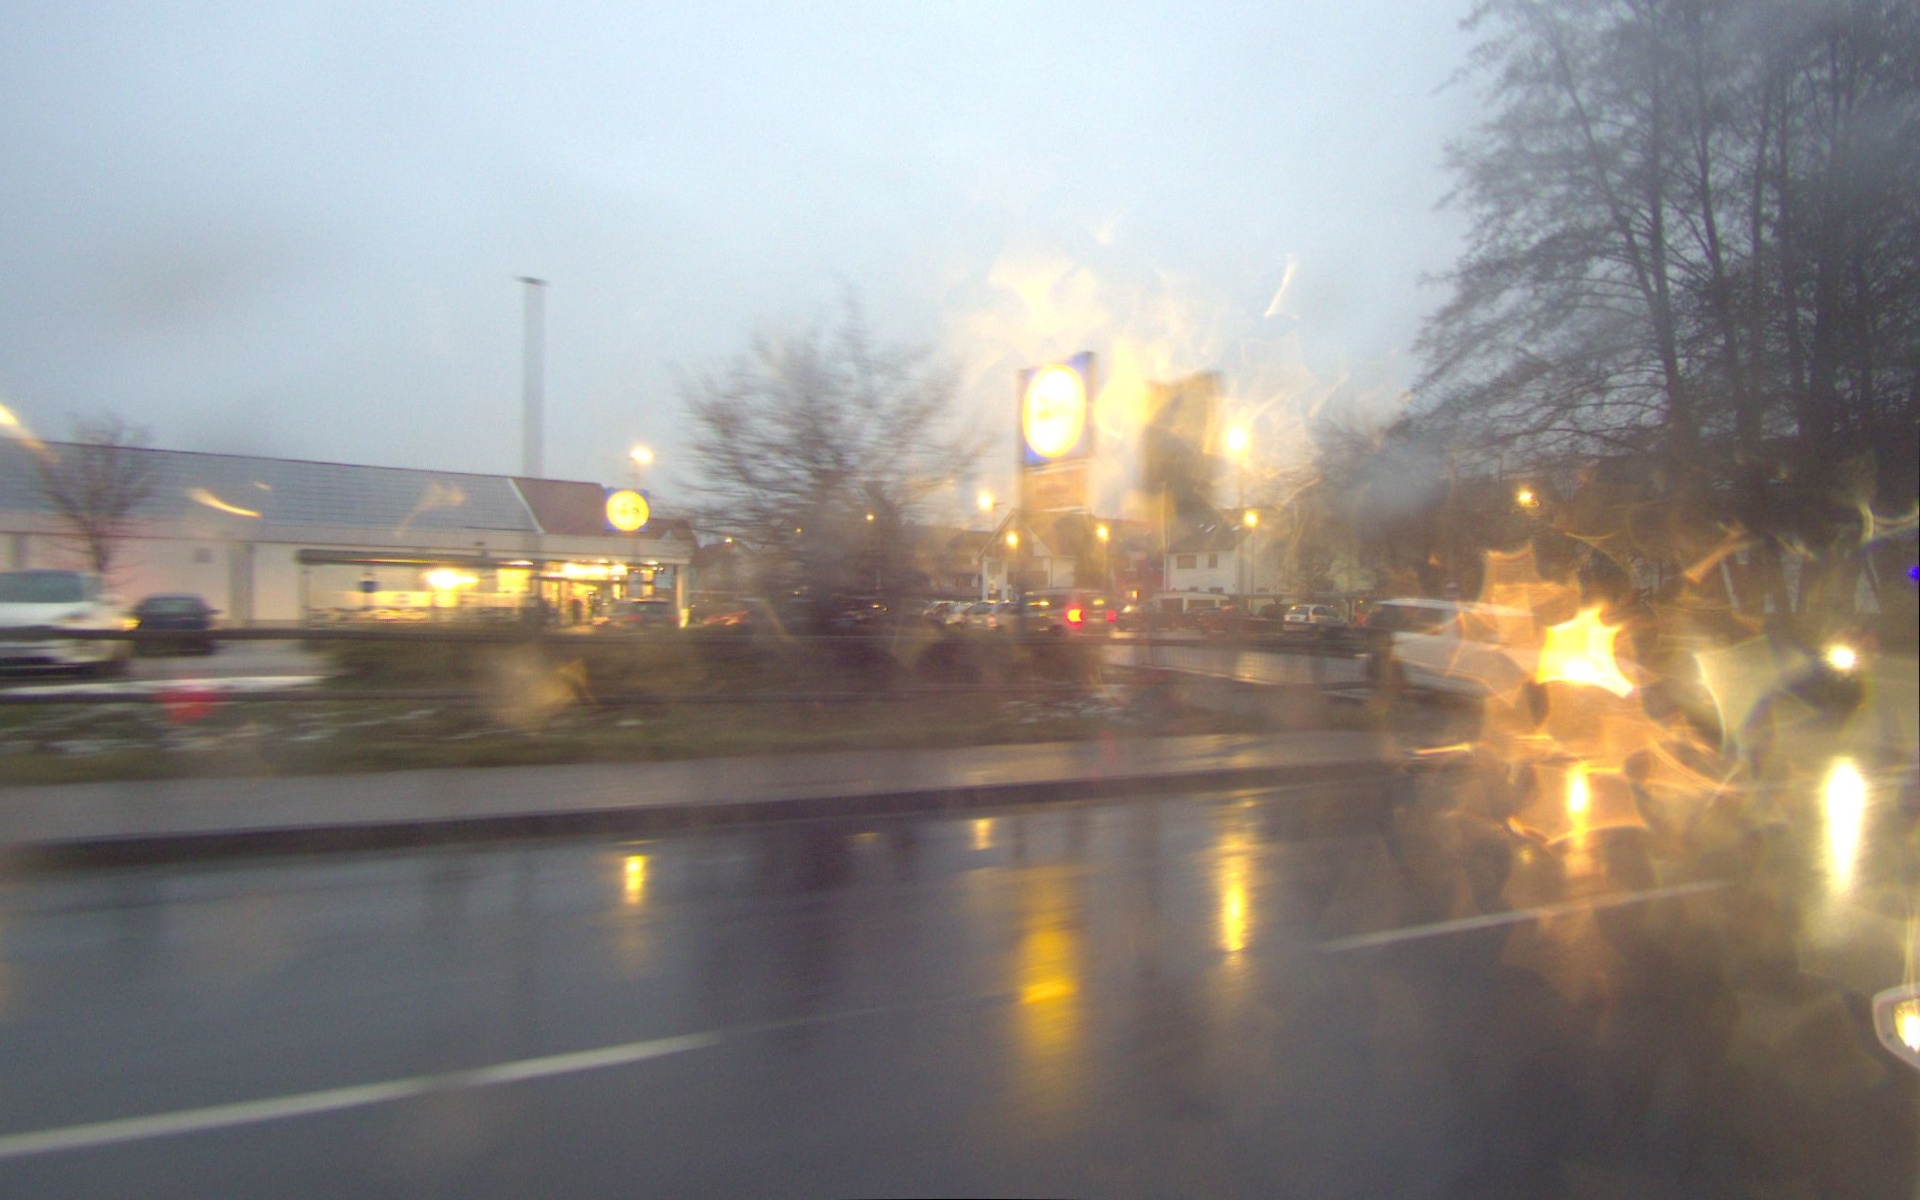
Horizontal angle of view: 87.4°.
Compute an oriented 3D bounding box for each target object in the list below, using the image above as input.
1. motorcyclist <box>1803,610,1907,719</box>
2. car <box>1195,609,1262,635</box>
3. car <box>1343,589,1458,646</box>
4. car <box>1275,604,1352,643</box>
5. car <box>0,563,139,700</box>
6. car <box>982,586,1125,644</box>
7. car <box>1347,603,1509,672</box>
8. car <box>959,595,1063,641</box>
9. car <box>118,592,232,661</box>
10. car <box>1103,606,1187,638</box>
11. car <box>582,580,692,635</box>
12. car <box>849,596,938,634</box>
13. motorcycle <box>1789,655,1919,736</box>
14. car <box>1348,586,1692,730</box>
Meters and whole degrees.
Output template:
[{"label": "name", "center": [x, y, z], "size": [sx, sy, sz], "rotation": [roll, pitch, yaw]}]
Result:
[{"label": "motorcyclist", "center": [13.013, 0.910, 14.613], "size": [0.898, 1.505, 0.861], "rotation": [1, 1, -31]}, {"label": "car", "center": [13.993, 1.123, 52.343], "size": [3.358, 1.146, 1.550], "rotation": [-1, 4, -34]}, {"label": "car", "center": [19.712, 0.726, 44.876], "size": [5.214, 2.310, 2.266], "rotation": [-1, 3, -34]}, {"label": "car", "center": [17.292, 1.110, 49.148], "size": [3.672, 1.662, 1.683], "rotation": [-1, 4, -34]}, {"label": "car", "center": [-13.470, 0.385, 14.651], "size": [2.013, 1.734, 4.737], "rotation": [0, 0, -36]}, {"label": "car", "center": [2.859, 0.427, 31.563], "size": [1.953, 1.694, 4.367], "rotation": [-1, 1, -41]}, {"label": "car", "center": [16.190, 1.220, 34.940], "size": [2.111, 2.004, 4.605], "rotation": [-1, 3, -40]}, {"label": "car", "center": [2.071, 0.697, 40.417], "size": [3.965, 1.639, 1.896], "rotation": [-1, 3, -39]}, {"label": "car", "center": [-19.669, 0.640, 25.340], "size": [2.035, 1.584, 4.401], "rotation": [-1, -1, -35]}, {"label": "car", "center": [10.568, 1.213, 57.289], "size": [4.612, 1.590, 2.034], "rotation": [-1, 3, -34]}, {"label": "car", "center": [-10.037, 0.251, 31.004], "size": [2.035, 1.584, 4.401], "rotation": [-1, -1, -35]}, {"label": "car", "center": [-3.182, 0.692, 48.667], "size": [3.965, 1.639, 1.896], "rotation": [-1, 3, -39]}, {"label": "motorcycle", "center": [13.109, 1.360, 14.690], "size": [2.086, 1.037, 0.861], "rotation": [1, 1, -31]}, {"label": "car", "center": [8.384, 0.755, 15.461], "size": [1.877, 1.722, 4.205], "rotation": [1, 3, -30]}]
